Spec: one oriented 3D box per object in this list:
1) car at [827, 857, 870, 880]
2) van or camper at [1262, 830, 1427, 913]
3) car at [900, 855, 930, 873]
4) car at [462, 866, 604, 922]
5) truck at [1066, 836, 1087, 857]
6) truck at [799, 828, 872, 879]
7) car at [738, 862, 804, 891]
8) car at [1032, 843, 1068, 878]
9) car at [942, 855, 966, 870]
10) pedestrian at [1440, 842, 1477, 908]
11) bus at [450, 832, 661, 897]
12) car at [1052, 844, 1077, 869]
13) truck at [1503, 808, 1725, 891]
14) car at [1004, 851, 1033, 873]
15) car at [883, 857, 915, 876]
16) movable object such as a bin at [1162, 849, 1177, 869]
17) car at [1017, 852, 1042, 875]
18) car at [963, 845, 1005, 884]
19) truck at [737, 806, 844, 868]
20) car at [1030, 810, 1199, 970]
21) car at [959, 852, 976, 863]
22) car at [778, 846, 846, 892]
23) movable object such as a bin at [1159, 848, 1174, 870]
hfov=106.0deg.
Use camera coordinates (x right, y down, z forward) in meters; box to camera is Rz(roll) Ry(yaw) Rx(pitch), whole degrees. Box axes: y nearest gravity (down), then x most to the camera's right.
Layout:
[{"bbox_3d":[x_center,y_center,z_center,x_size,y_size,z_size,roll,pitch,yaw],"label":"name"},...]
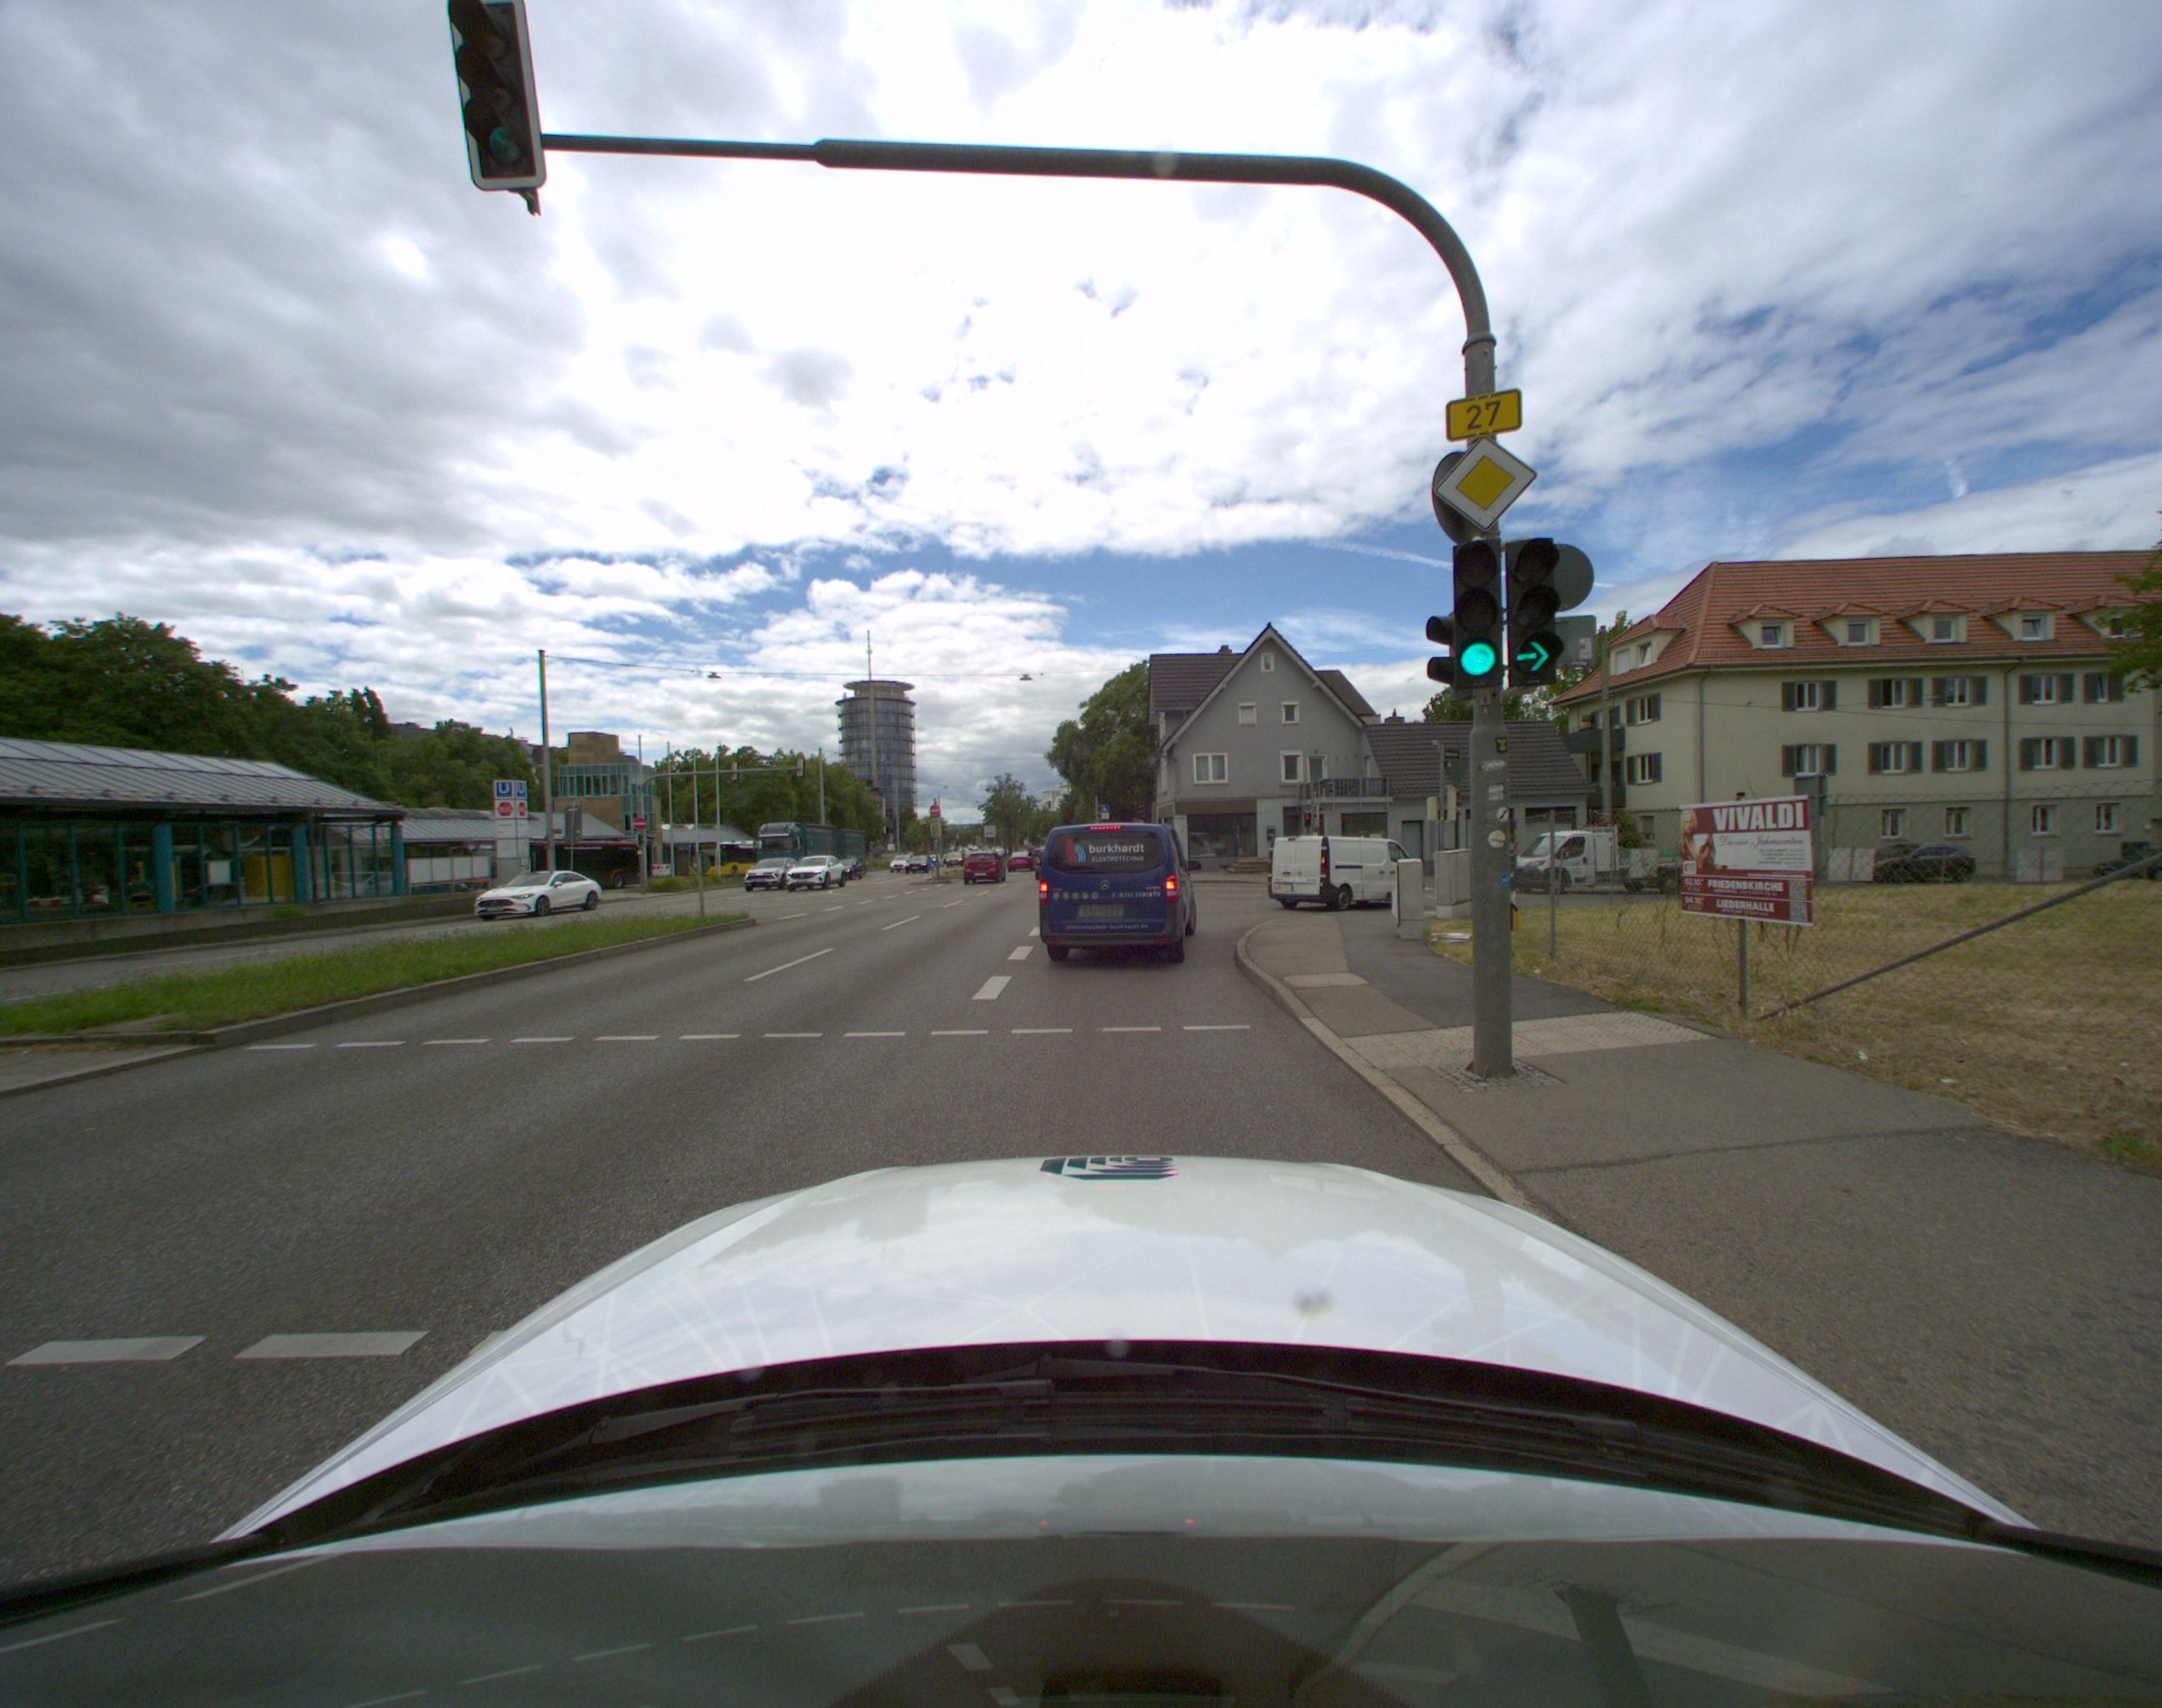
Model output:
[{"bbox_3d":[-15.874,0.979,55.716,1.792,1.417,3.998,-2,0,-1],"label":"car"},{"bbox_3d":[7.389,0.374,22.548,5.123,2.013,1.977,-2,3,-41],"label":"van or camper"},{"bbox_3d":[-13.446,0.763,66.145,1.992,1.332,4.433,-2,0,-8],"label":"car"},{"bbox_3d":[-18.038,1.248,27.112,1.728,1.574,4.503,-2,0,-2],"label":"car"},{"bbox_3d":[-0.417,-0.761,83.779,1.986,2.165,5.561,0,0,2],"label":"truck"},{"bbox_3d":[-19.684,-0.073,65.855,3.358,3.727,8.025,-2,0,0],"label":"truck"},{"bbox_3d":[-15.665,1.096,41.376,1.824,1.262,3.998,-2,0,-2],"label":"car"},{"bbox_3d":[-1.585,0.314,42.835,1.741,1.723,3.998,-2,0,-2],"label":"car"},{"bbox_3d":[-13.625,0.921,87.726,1.988,1.516,3.997,-2,0,-2],"label":"car"},{"bbox_3d":[9.282,0.520,20.038,0.603,1.597,0.609,-1,-2,-1],"label":"pedestrian"},{"bbox_3d":[-28.971,0.521,46.048,2.942,3.133,12.181,-1,0,6],"label":"bus"},{"bbox_3d":[-1.214,0.164,60.572,1.741,1.723,3.999,-2,0,-1],"label":"car"},{"bbox_3d":[18.298,-0.162,28.157,6.364,2.701,2.000,1,0,1],"label":"truck"},{"bbox_3d":[-4.534,0.586,58.919,1.867,1.486,3.990,-2,-1,-7],"label":"car"},{"bbox_3d":[-16.355,1.123,73.339,1.988,1.574,3.998,-2,0,-1],"label":"car"},{"bbox_3d":[4.382,0.255,40.482,0.596,0.987,0.572,-2,0,-7],"label":"movable object such as a bin"},{"bbox_3d":[-4.716,0.835,74.314,1.992,2.013,3.990,-1,1,-7],"label":"car"},{"bbox_3d":[-4.670,0.474,39.514,1.743,1.723,3.994,-2,0,-4],"label":"car"},{"bbox_3d":[-19.368,-1.065,55.361,3.358,3.727,11.274,-1,0,-1],"label":"truck"},{"bbox_3d":[0.725,0.440,12.410,1.936,1.965,4.554,0,0,10],"label":"car"},{"bbox_3d":[-17.120,0.543,123.368,1.988,1.574,3.998,-2,0,-1],"label":"car"},{"bbox_3d":[-12.717,0.679,38.837,1.989,2.013,4.174,-2,0,-4],"label":"car"},{"bbox_3d":[4.297,0.254,41.081,0.596,1.101,0.572,-2,0,-7],"label":"movable object such as a bin"}]
